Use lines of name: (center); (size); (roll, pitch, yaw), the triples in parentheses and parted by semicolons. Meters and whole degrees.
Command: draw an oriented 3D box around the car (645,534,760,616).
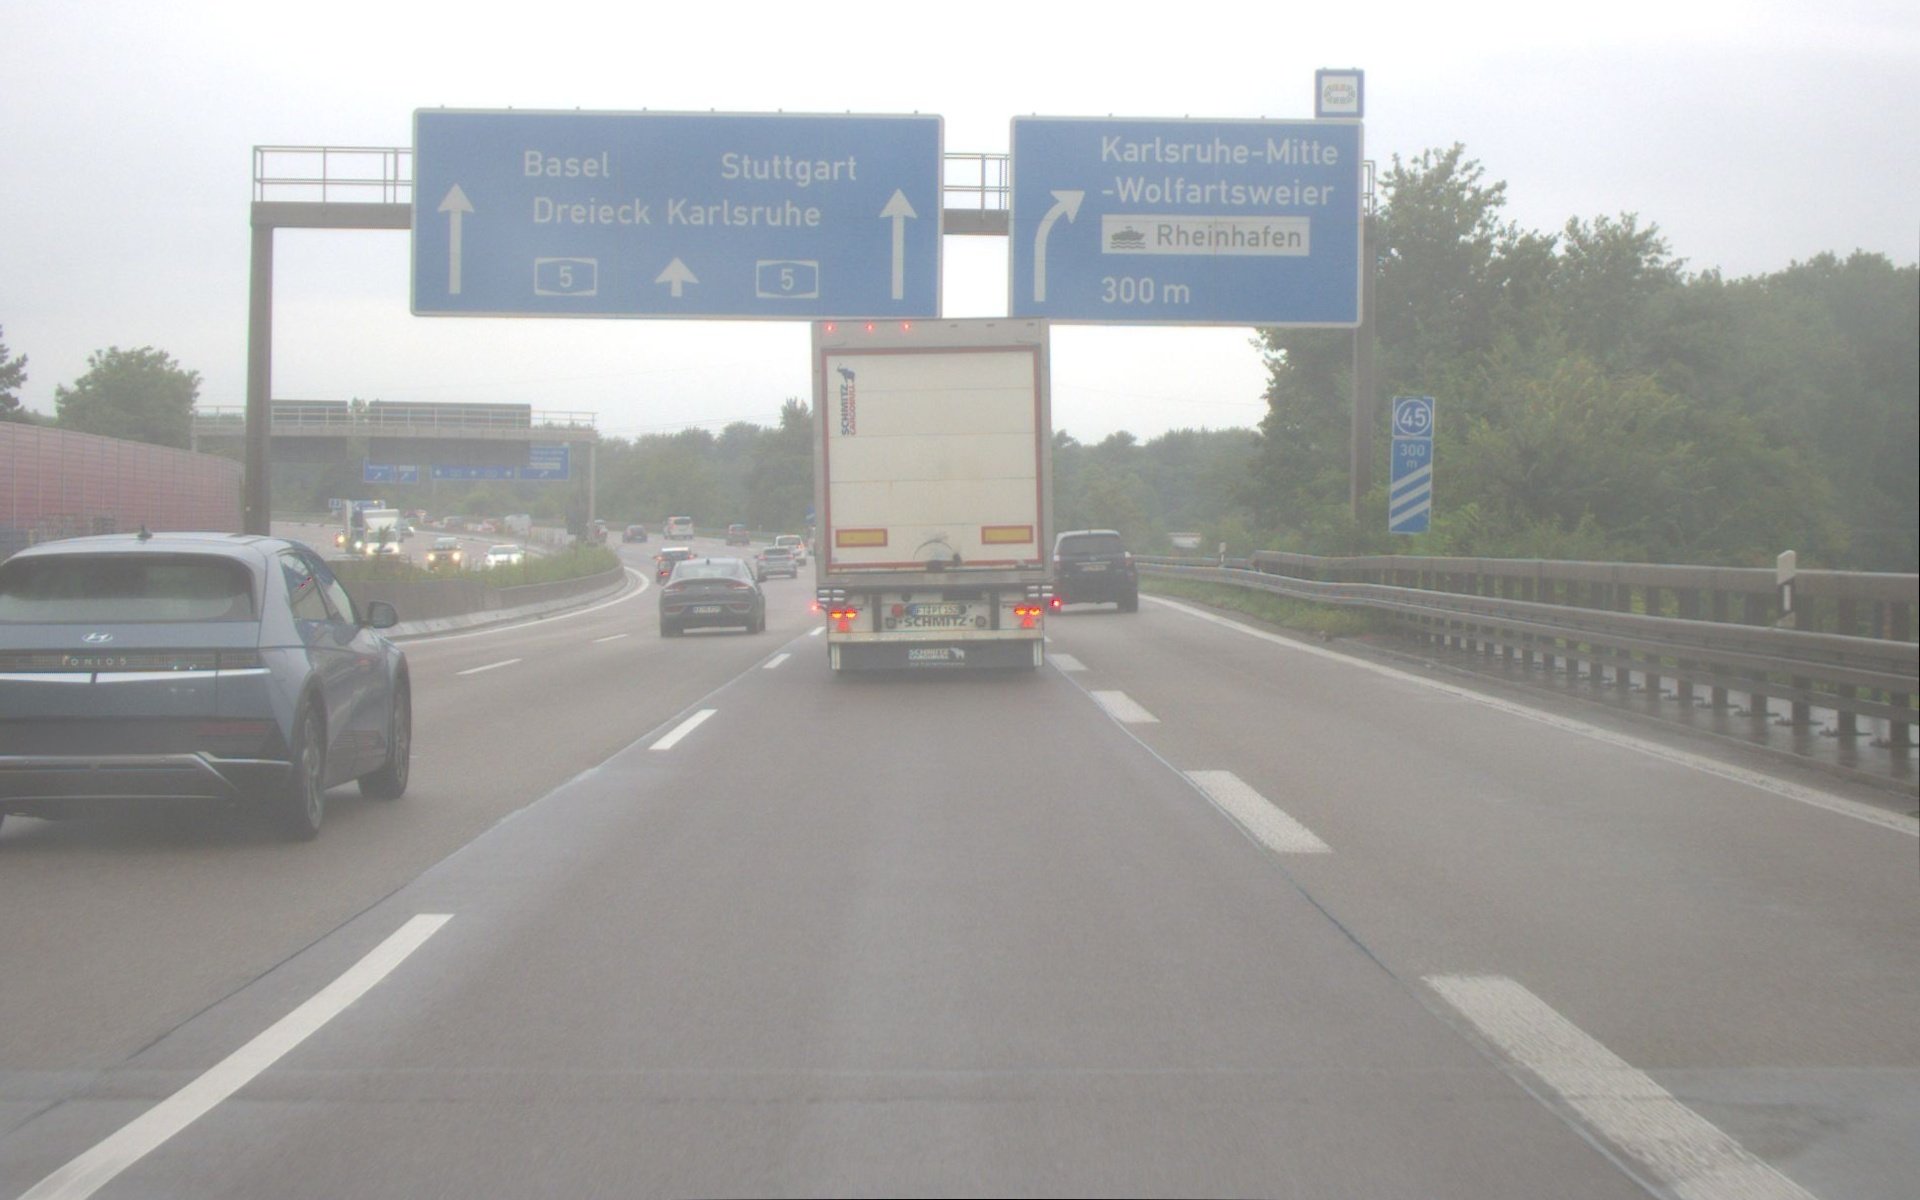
car: (-4.746, -0.468, 63.891); (1.725, 1.398, 4.829); (2, 0, 0)

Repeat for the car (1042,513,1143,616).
car: (2.673, -0.726, 70.163); (1.897, 1.943, 4.000); (3, 1, 1)

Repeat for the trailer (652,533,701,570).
trailer: (-12.922, -2.224, 156.878); (1.815, 1.619, 4.568); (2, 1, 0)

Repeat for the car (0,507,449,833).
car: (-4.191, 0.322, 19.588); (1.838, 1.589, 5.156); (1, 0, -1)

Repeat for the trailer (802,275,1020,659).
trailer: (-0.525, -1.637, 44.556); (2.342, 4.143, 14.828); (0, 2, 0)

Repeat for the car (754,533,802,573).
car: (-8.087, -2.082, 152.664); (1.894, 1.718, 4.000); (1, 1, 0)
